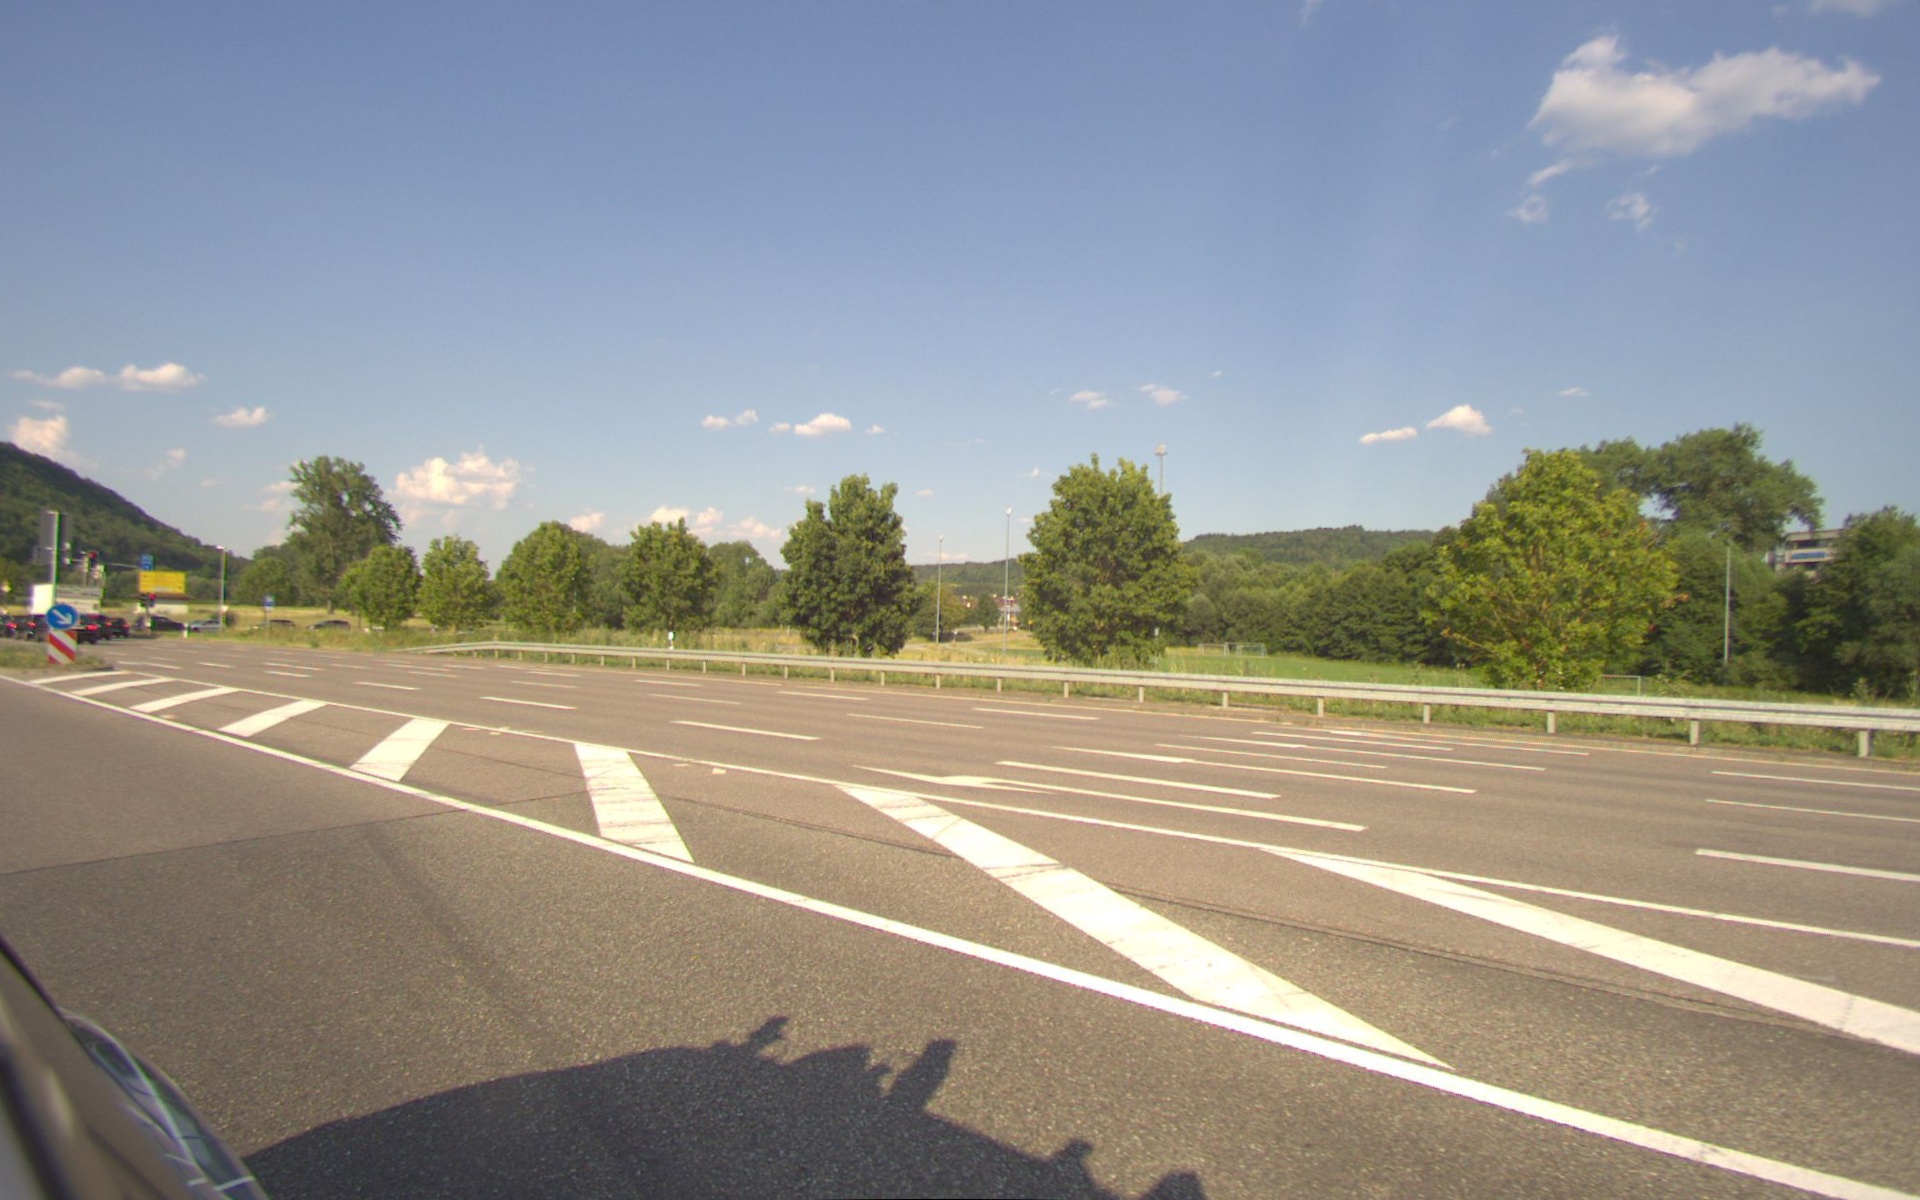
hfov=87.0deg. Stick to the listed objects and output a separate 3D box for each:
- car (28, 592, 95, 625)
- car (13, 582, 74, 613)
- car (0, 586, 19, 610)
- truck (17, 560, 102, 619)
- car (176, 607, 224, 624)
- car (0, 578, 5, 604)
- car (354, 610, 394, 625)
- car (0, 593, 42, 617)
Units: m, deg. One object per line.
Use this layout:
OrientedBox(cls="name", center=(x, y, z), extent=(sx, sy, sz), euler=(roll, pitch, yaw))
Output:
OrientedBox(cls="car", center=(-43.841, 0.408, 49.352), extent=(4.722, 1.475, 1.698), euler=(0, -3, 40))
OrientedBox(cls="car", center=(-48.943, -0.131, 54.031), extent=(4.240, 1.485, 1.685), euler=(1, -3, 39))
OrientedBox(cls="car", center=(-61.313, -0.155, 64.168), extent=(5.077, 1.416, 1.685), euler=(1, -1, 39))
OrientedBox(cls="truck", center=(-62.219, -0.765, 69.816), extent=(10.494, 3.718, 2.902), euler=(1, -3, 41))
OrientedBox(cls="car", center=(-77.589, 1.597, 103.419), extent=(1.581, 1.630, 3.674), euler=(1, 1, 21))
OrientedBox(cls="car", center=(-66.232, -0.668, 68.301), extent=(4.802, 1.691, 1.974), euler=(1, -2, 39))
OrientedBox(cls="car", center=(-70.782, 2.087, 122.312), extent=(1.580, 1.630, 4.231), euler=(1, 1, 20))
OrientedBox(cls="car", center=(-55.034, 0.294, 58.839), extent=(4.814, 1.293, 1.685), euler=(0, -3, 39))
